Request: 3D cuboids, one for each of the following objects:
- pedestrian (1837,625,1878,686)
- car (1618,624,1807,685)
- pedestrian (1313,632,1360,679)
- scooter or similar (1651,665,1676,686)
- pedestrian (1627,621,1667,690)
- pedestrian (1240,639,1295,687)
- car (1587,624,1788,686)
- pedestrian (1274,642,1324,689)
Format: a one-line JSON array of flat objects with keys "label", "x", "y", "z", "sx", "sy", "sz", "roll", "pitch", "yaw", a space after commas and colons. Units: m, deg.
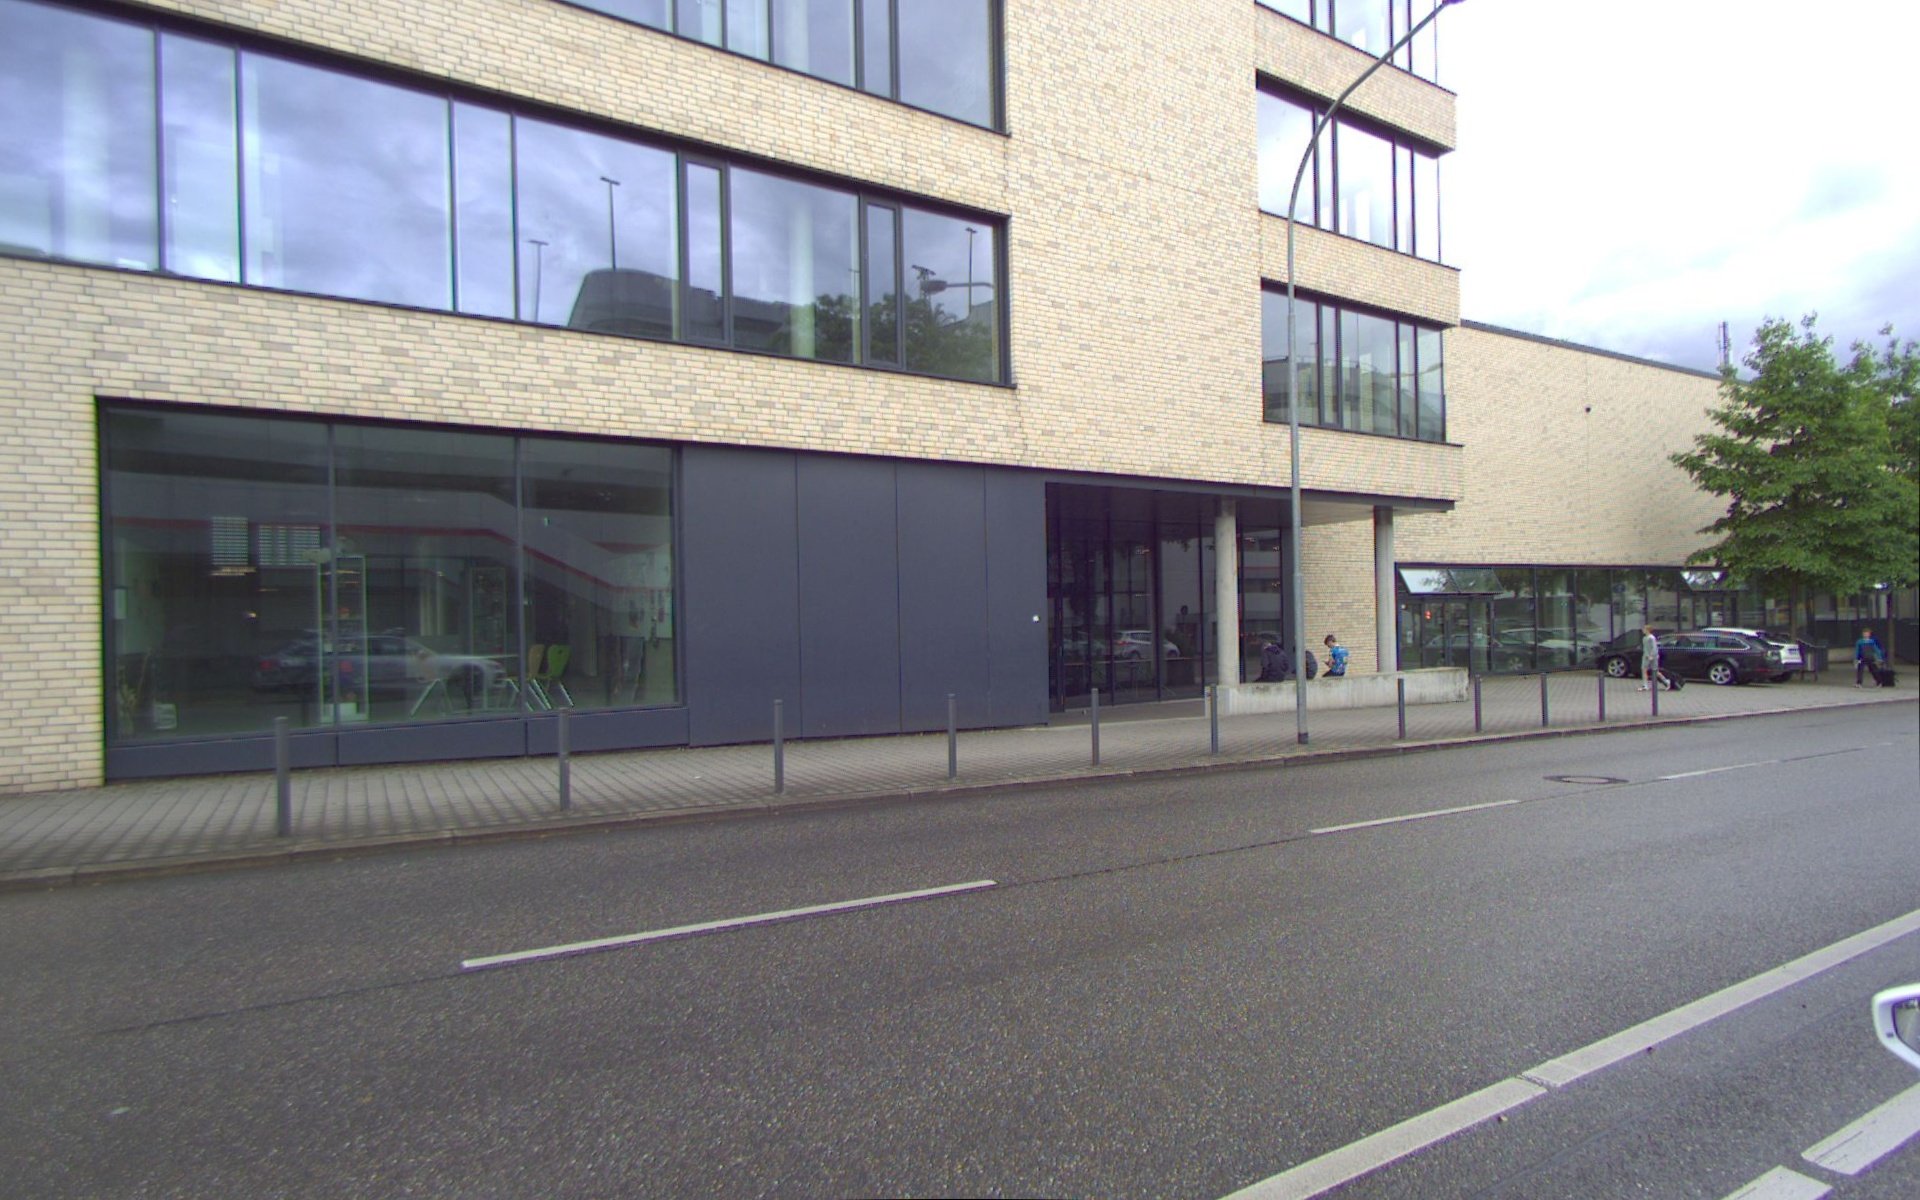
[{"label": "pedestrian", "x": 26.566, "y": 1.629, "z": 29.726, "sx": 0.745, "sy": 1.748, "sz": 0.685, "roll": 0, "pitch": 1, "yaw": -31}, {"label": "car", "x": 23.541, "y": 1.645, "z": 31.587, "sx": 1.980, "sy": 1.595, "sz": 4.388, "roll": -1, "pitch": 1, "yaw": -35}, {"label": "pedestrian", "x": 7.521, "y": 1.106, "z": 20.078, "sx": 0.519, "sy": 0.897, "sz": 0.676, "roll": 2, "pitch": 0, "yaw": -36}, {"label": "scooter or similar", "x": 18.059, "y": 1.929, "z": 25.789, "sx": 0.608, "sy": 0.507, "sz": 0.279, "roll": 3, "pitch": -1, "yaw": -28}, {"label": "pedestrian", "x": 17.596, "y": 1.410, "z": 25.728, "sx": 0.473, "sy": 1.719, "sz": 0.672, "roll": 2, "pitch": 0, "yaw": -30}, {"label": "pedestrian", "x": 5.819, "y": 1.192, "z": 19.009, "sx": 0.752, "sy": 0.796, "sz": 0.595, "roll": 9, "pitch": -4, "yaw": -30}, {"label": "car", "x": 21.369, "y": 1.561, "z": 29.673, "sx": 1.981, "sy": 1.608, "sz": 4.437, "roll": 1, "pitch": -1, "yaw": -36}, {"label": "pedestrian", "x": 6.586, "y": 1.265, "z": 19.495, "sx": 0.719, "sy": 0.856, "sz": 0.583, "roll": 2, "pitch": -1, "yaw": -30}]
